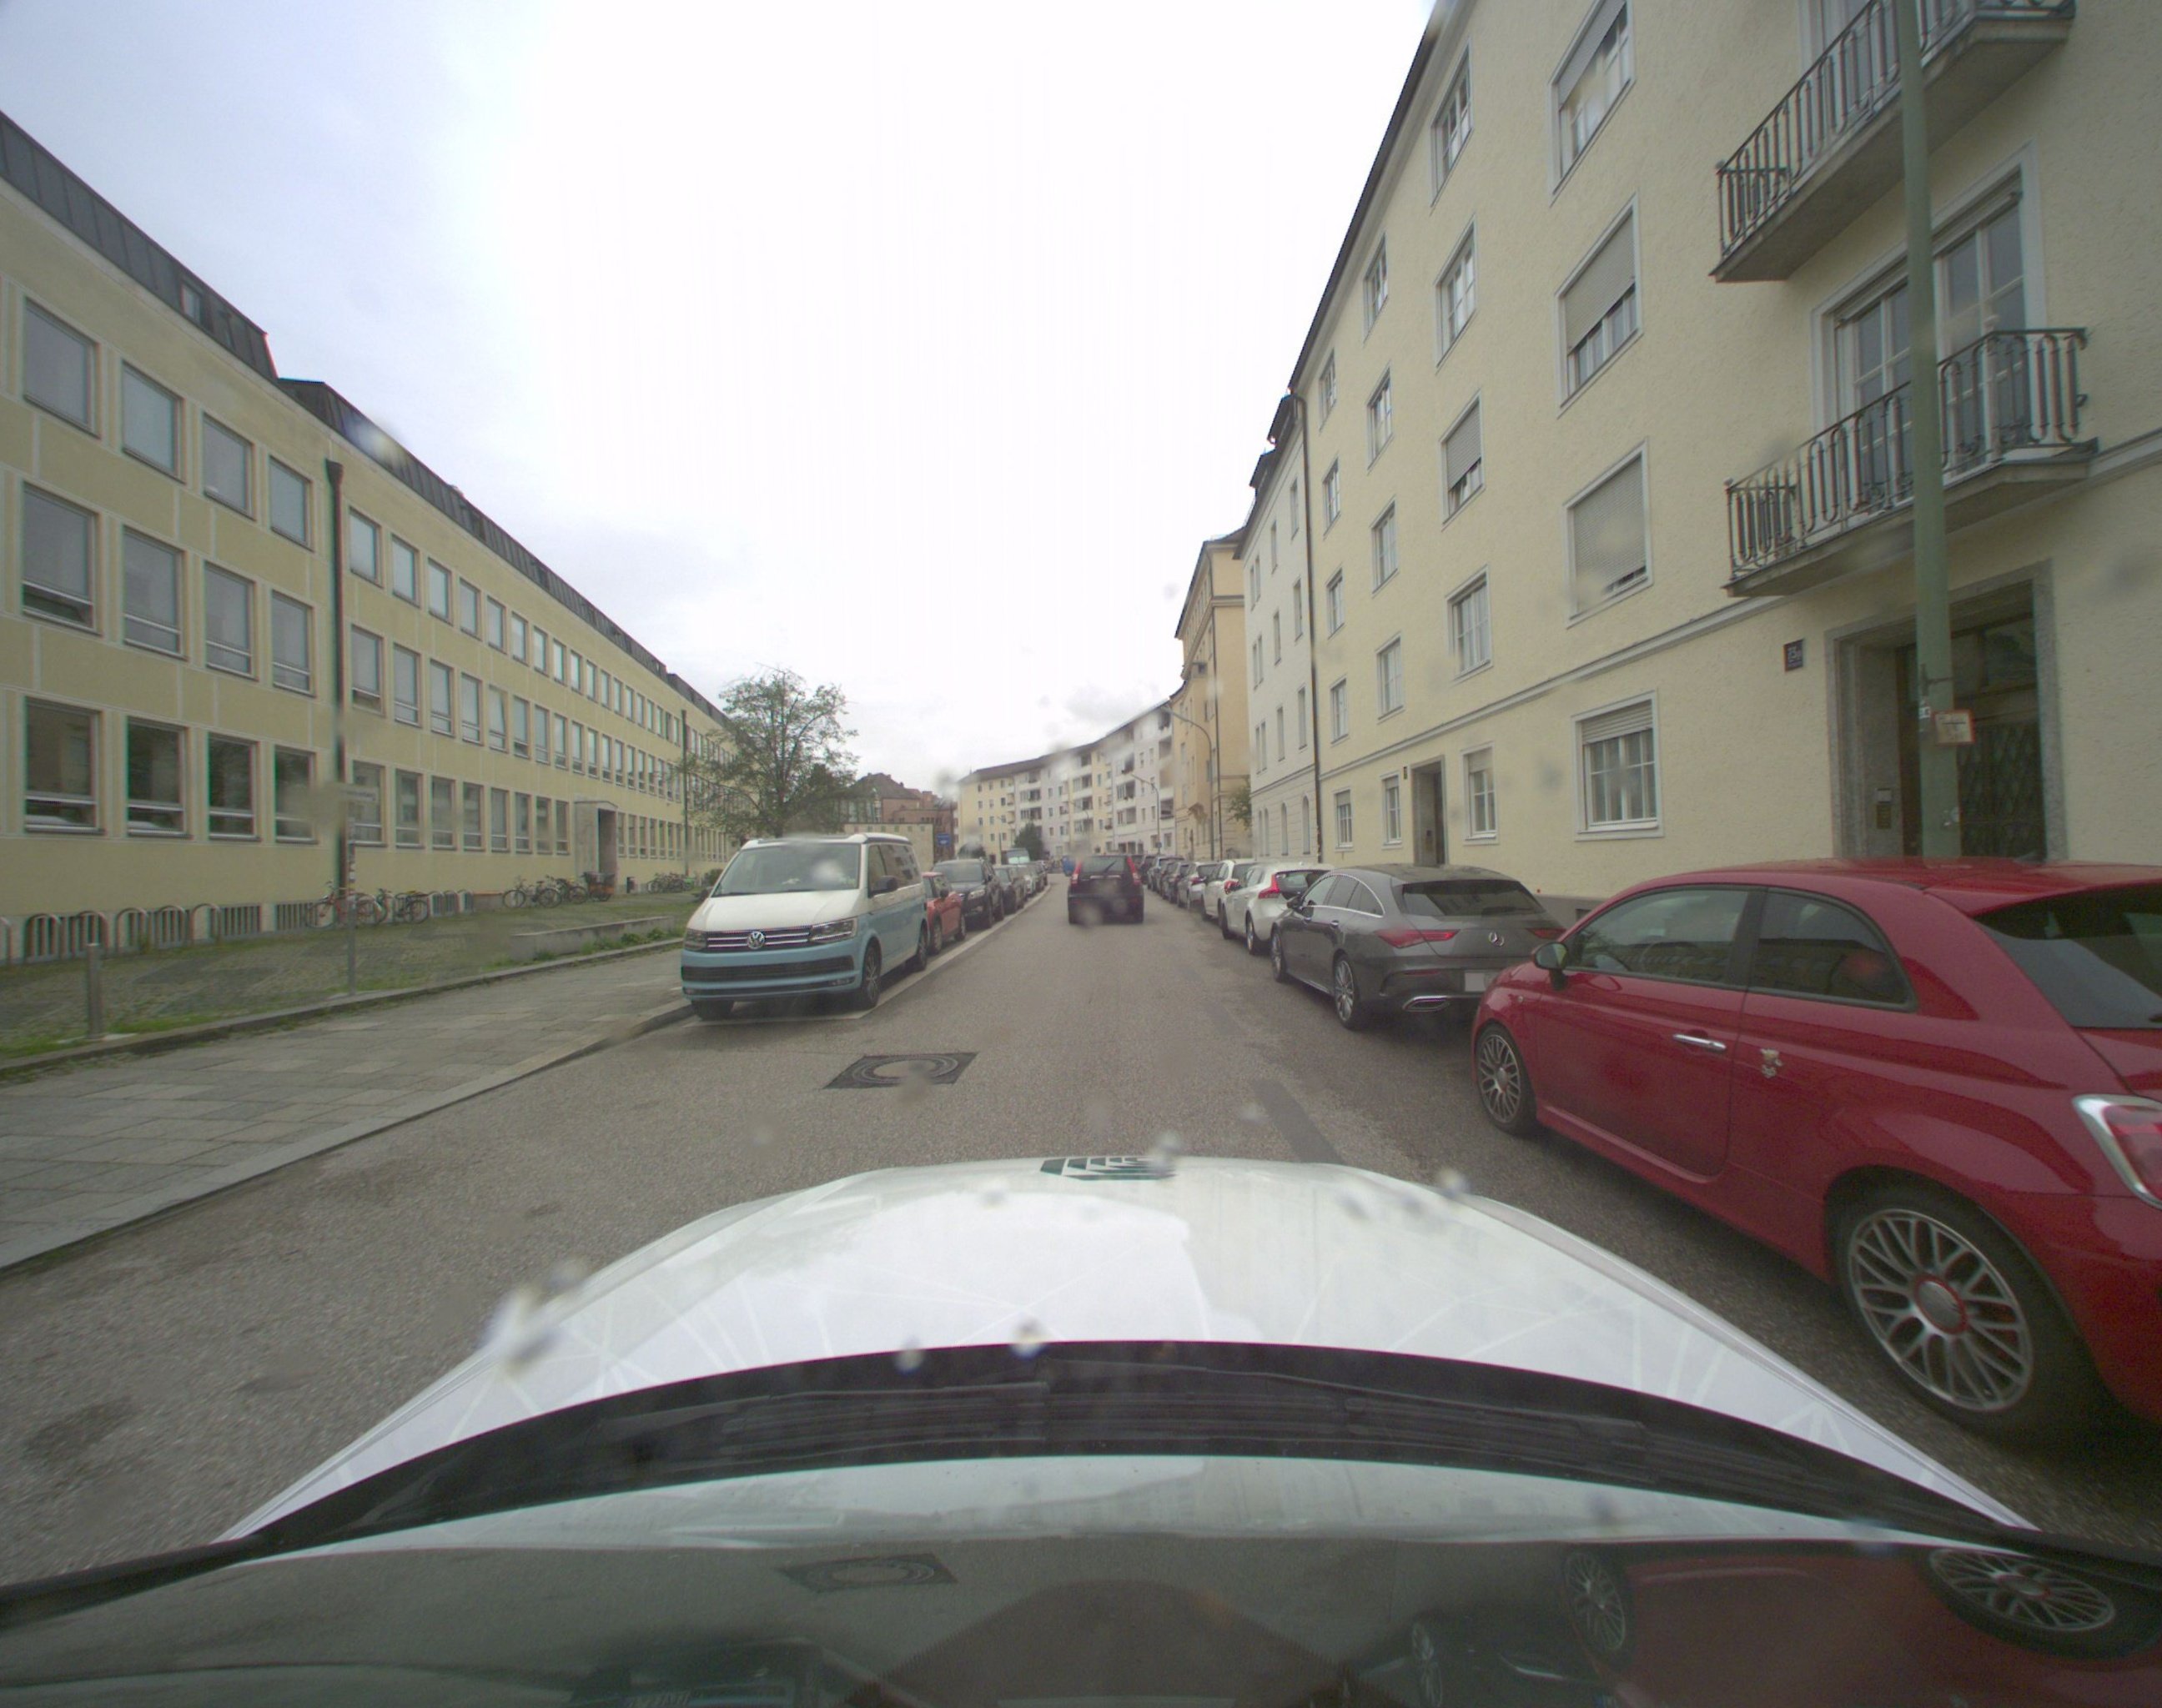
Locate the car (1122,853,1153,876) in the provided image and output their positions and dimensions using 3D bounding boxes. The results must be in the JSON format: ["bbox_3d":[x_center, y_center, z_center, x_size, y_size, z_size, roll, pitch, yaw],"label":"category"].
[{"bbox_3d":[4.527,0.818,66.283,1.776,1.807,4.265,0,-1,-7],"label":"car"}]

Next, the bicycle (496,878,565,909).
[{"bbox_3d":[-19.787,1.403,29.302,1.950,1.014,0.622,-1,0,-16],"label":"bicycle"}]

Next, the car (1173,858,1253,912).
[{"bbox_3d":[3.831,0.863,24.296,1.673,1.427,4.166,-2,-1,0],"label":"car"}]

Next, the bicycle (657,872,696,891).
[{"bbox_3d":[-23.580,1.588,47.502,1.948,1.014,0.623,-1,0,-13],"label":"bicycle"}]

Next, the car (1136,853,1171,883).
[{"bbox_3d":[4.333,0.812,49.303,1.862,1.717,4.867,0,-1,2],"label":"car"}]

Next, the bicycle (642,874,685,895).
[{"bbox_3d":[-22.608,1.649,44.117,1.946,1.014,0.623,-1,0,-10],"label":"bicycle"}]

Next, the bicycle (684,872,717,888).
[{"bbox_3d":[-25.775,1.730,55.195,1.944,1.014,0.624,-1,0,-6],"label":"bicycle"}]

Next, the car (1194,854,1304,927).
[{"bbox_3d":[3.795,0.788,19.054,1.673,1.481,4.166,-2,-1,0],"label":"car"}]

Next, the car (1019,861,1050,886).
[{"bbox_3d":[-2.947,1.218,51.624,1.795,1.406,4.450,-3,0,-3],"label":"car"}]

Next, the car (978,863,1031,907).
[{"bbox_3d":[-2.859,1.111,31.018,1.652,1.453,3.972,-3,0,-1],"label":"car"}]

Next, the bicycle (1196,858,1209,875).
[{"bbox_3d":[8.031,0.805,53.975,0.577,1.083,1.954,-4,0,2],"label":"bicycle"}]

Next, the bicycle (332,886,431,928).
[{"bbox_3d":[-18.593,1.390,21.681,1.946,1.014,0.623,-1,0,-9],"label":"bicycle"}]

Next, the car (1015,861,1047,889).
[{"bbox_3d":[-2.829,1.172,46.792,1.652,1.453,3.310,-3,0,-2],"label":"car"}]

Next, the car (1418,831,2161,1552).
[{"bbox_3d":[3.094,0.698,3.555,1.673,1.497,3.824,-2,-1,1],"label":"car"}]

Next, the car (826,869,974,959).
[{"bbox_3d":[-3.187,1.003,15.105,1.737,1.387,3.919,-1,0,2],"label":"car"}]

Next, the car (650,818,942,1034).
[{"bbox_3d":[-3.175,0.719,10.361,1.923,1.979,5.020,-3,-1,-1],"label":"car"}]

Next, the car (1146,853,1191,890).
[{"bbox_3d":[4.165,0.820,39.396,1.716,1.634,4.458,-2,-1,1],"label":"car"}]

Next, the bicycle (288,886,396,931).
[{"bbox_3d":[-18.362,1.355,20.268,1.946,1.014,0.623,-1,0,-9],"label":"bicycle"}]

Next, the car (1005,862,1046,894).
[{"bbox_3d":[-2.775,1.184,41.730,1.749,1.453,4.394,-3,0,0],"label":"car"}]

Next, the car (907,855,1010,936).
[{"bbox_3d":[-2.945,0.953,20.538,1.738,1.666,4.449,-5,0,1],"label":"car"}]

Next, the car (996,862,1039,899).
[{"bbox_3d":[-2.798,1.163,36.646,1.652,1.453,4.070,-3,0,-1],"label":"car"}]

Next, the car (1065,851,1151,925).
[{"bbox_3d":[0.585,0.791,20.498,1.886,1.647,3.988,-2,-1,-2],"label":"car"}]

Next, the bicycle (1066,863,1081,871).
[{"bbox_3d":[-0.996,1.688,105.932,1.873,1.091,0.561,-1,-1,-21],"label":"bicycle"}]

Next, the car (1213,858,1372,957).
[{"bbox_3d":[3.484,0.815,14.268,1.673,1.410,4.443,-2,-1,1],"label":"car"}]

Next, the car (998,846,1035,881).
[{"bbox_3d":[-5.410,0.780,68.006,2.166,2.641,5.991,-3,0,-12],"label":"car"}]

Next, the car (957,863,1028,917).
[{"bbox_3d":[-2.725,1.076,25.762,1.674,1.453,3.870,-3,0,1],"label":"car"}]

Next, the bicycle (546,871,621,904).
[{"bbox_3d":[-20.843,1.395,34.180,2.439,1.248,1.051,-1,0,-16],"label":"bicycle"}]

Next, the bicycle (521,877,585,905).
[{"bbox_3d":[-20.456,1.427,31.587,1.950,1.014,0.622,-1,0,-16],"label":"bicycle"}]

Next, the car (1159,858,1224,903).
[{"bbox_3d":[3.843,0.900,28.878,1.673,1.427,4.390,-2,-1,0],"label":"car"}]

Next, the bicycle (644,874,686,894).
[{"bbox_3d":[-22.913,1.670,44.890,1.948,1.014,0.623,-1,0,-13],"label":"bicycle"}]

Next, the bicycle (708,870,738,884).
[{"bbox_3d":[-26.682,1.705,60.715,1.950,1.014,0.622,-1,0,-16],"label":"bicycle"}]

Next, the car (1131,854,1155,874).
[{"bbox_3d":[4.641,0.775,61.182,1.701,1.447,3.832,0,-1,3],"label":"car"}]

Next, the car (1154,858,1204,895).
[{"bbox_3d":[4.047,0.902,34.220,1.673,1.427,4.087,-2,-1,1],"label":"car"}]

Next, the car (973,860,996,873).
[{"bbox_3d":[-14.224,1.866,119.990,1.736,1.878,3.959,-1,-1,-32],"label":"car"}]

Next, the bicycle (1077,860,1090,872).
[{"bbox_3d":[0.305,1.434,98.213,0.970,1.388,2.551,-1,-1,-14],"label":"bicycle"}]

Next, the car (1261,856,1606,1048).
[{"bbox_3d":[3.161,0.768,8.395,1.673,1.410,4.422,-2,-1,1],"label":"car"}]

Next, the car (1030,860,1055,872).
[{"bbox_3d":[-4.915,1.550,103.089,1.733,1.483,3.965,-1,0,-26],"label":"car"}]

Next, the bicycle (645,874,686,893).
[{"bbox_3d":[-23.489,1.653,46.019,1.948,1.014,0.623,-1,0,-13],"label":"bicycle"}]
